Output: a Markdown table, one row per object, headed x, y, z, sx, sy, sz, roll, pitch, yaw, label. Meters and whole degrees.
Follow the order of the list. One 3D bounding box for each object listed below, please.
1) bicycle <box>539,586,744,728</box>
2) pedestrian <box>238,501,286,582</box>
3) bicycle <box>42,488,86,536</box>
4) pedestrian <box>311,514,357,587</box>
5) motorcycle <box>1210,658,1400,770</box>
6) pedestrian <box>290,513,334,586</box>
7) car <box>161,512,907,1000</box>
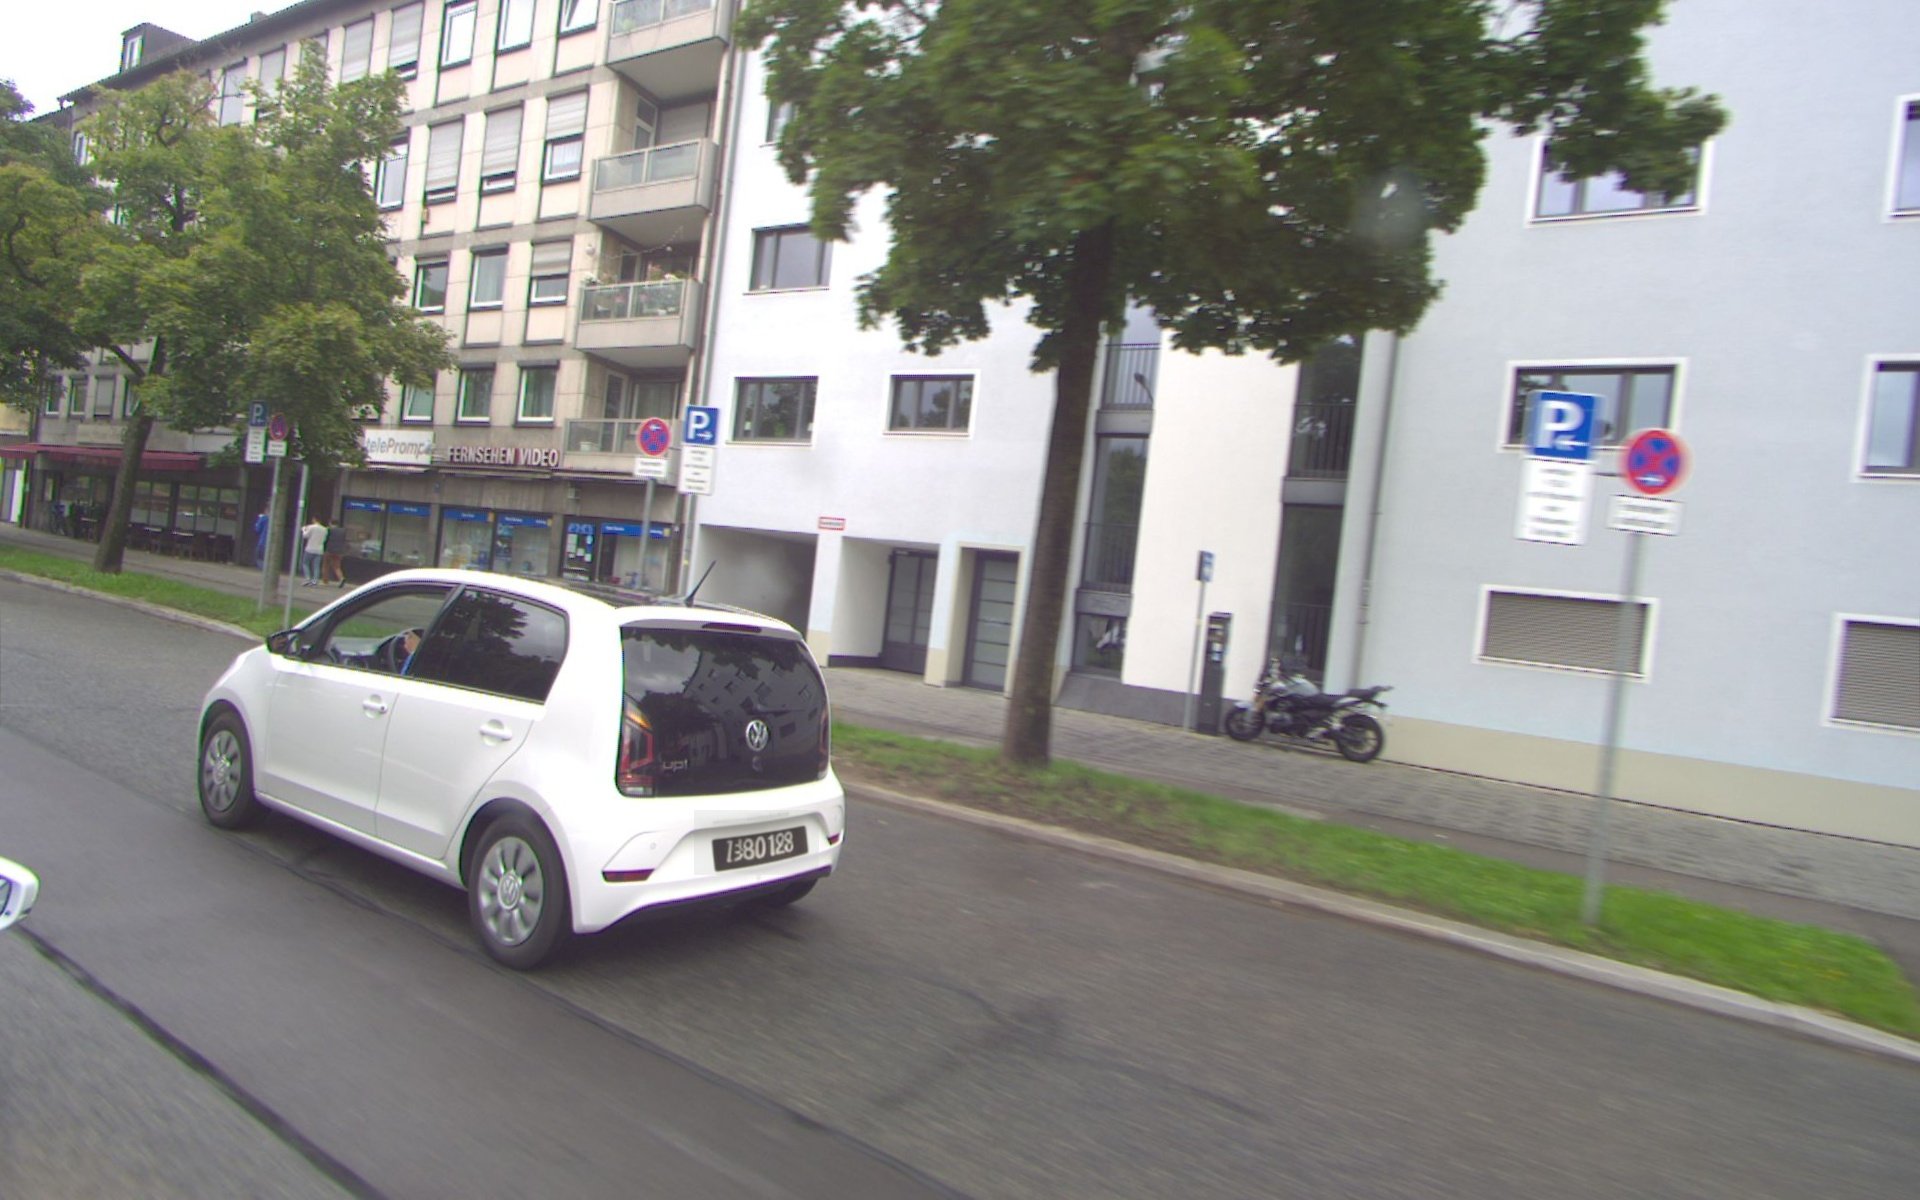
| x | y | z | sx | sy | sz | roll | pitch | yaw | label |
| --- | --- | --- | --- | --- | --- | --- | --- | --- | --- |
| -3.542 | 0.611 | 11.168 | 2.109 | 1.271 | 0.456 | 7 | 0 | 13 | bicycle |
| -15.955 | -1.341 | 22.997 | 0.720 | 1.755 | 0.500 | 7 | 1 | 31 | pedestrian |
| -30.756 | -3.039 | 34.535 | 1.660 | 1.482 | 0.580 | 7 | 1 | 32 | bicycle |
| -15.275 | -1.202 | 24.542 | 0.712 | 1.661 | 0.542 | 7 | 1 | 31 | pedestrian |
| 4.546 | 1.466 | 13.309 | 2.163 | 1.099 | 0.762 | 7 | 1 | 32 | motorcycle |
| -15.374 | -1.193 | 23.882 | 0.630 | 1.651 | 0.549 | 7 | 2 | 31 | pedestrian |
| -2.213 | 0.545 | 5.084 | 3.378 | 1.507 | 1.690 | 7 | -2 | 32 | car |
